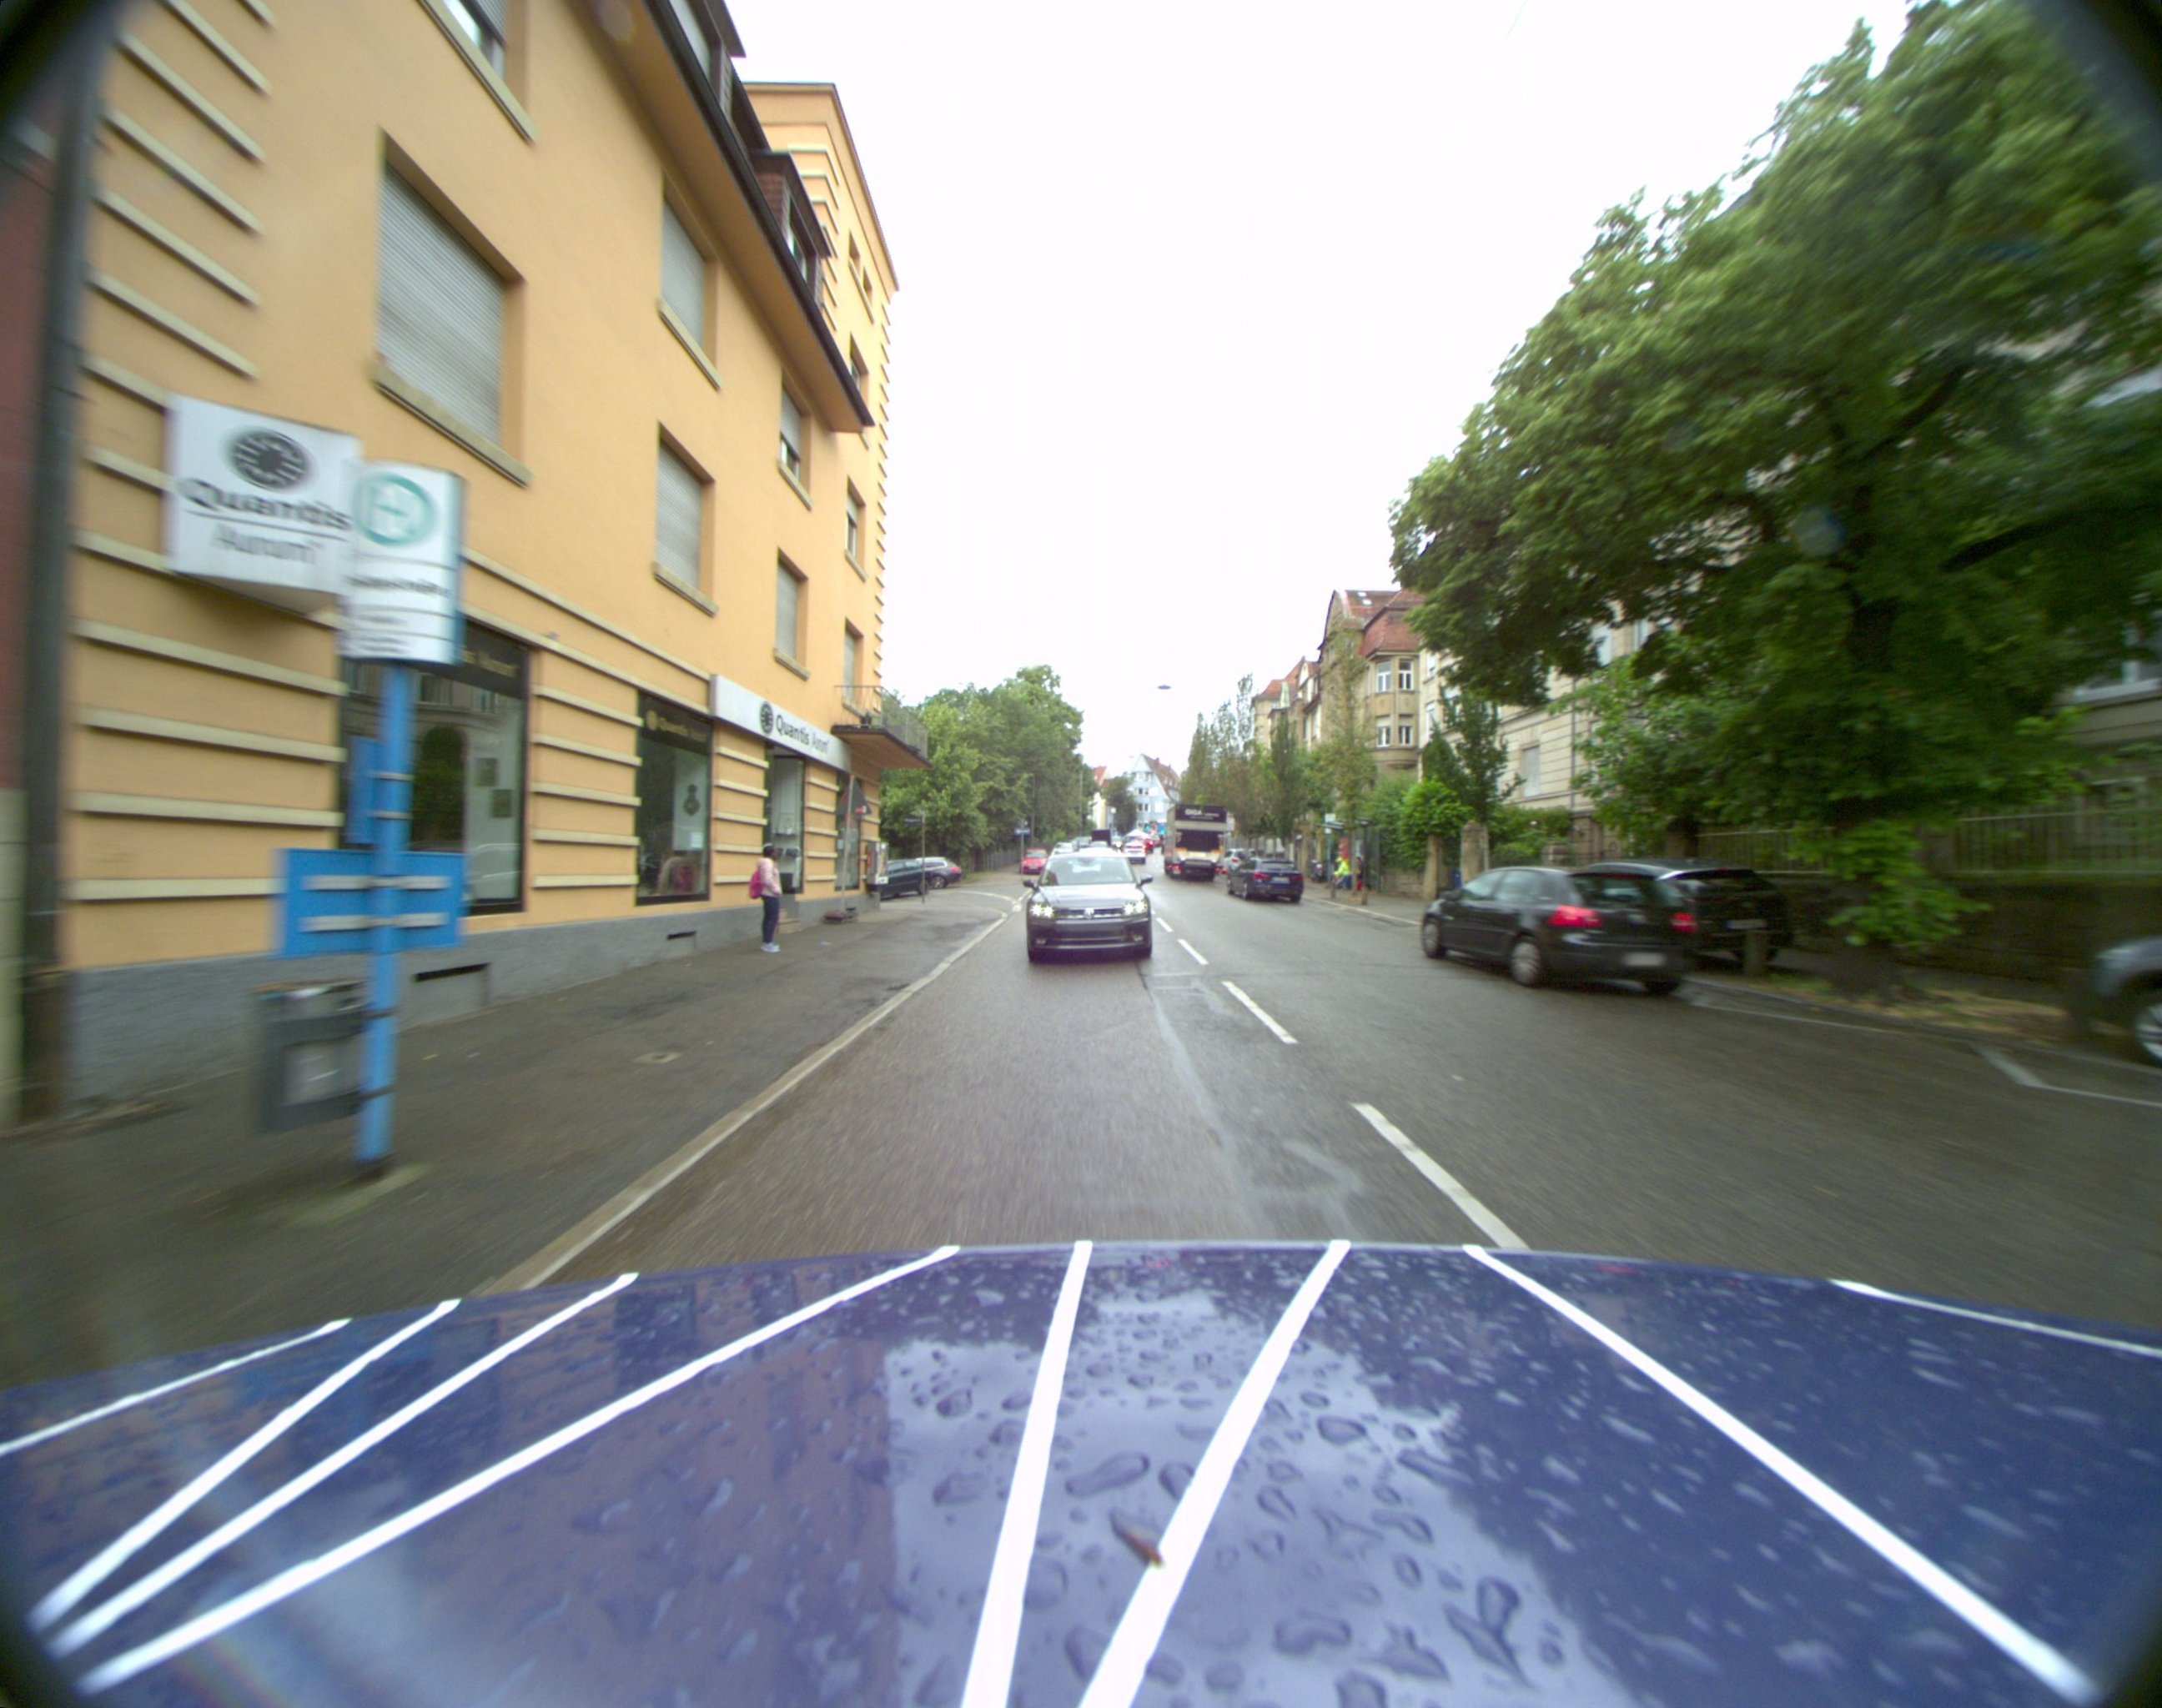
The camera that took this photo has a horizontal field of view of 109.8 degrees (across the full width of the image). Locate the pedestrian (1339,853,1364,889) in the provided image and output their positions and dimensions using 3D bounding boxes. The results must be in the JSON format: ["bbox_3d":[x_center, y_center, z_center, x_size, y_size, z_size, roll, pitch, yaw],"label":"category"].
[{"bbox_3d":[10.984,0.671,30.912,0.768,1.424,0.649,1,2,3],"label":"pedestrian"}]

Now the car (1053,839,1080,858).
[{"bbox_3d":[-1.190,-0.520,64.798,1.745,1.455,4.883,4,2,4],"label":"car"}]

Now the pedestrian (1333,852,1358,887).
[{"bbox_3d":[10.969,0.642,31.534,0.768,1.424,0.649,1,2,3],"label":"pedestrian"}]

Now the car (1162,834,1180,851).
[{"bbox_3d":[9.418,-1.220,79.160,1.747,1.509,3.869,3,3,7],"label":"car"}]

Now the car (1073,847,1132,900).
[{"bbox_3d":[0.786,0.638,27.337,1.925,1.642,4.485,-2,1,2],"label":"car"}]

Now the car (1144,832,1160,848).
[{"bbox_3d":[8.459,-1.688,90.035,1.655,1.699,4.114,2,3,7],"label":"car"}]

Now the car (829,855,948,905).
[{"bbox_3d":[-7.224,0.928,28.931,1.850,1.461,4.116,-2,3,33],"label":"car"}]

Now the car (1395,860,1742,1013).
[{"bbox_3d":[6.119,0.900,10.360,1.776,1.509,4.590,1,1,0],"label":"car"}]

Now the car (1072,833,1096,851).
[{"bbox_3d":[0.363,-1.299,80.527,1.971,1.642,4.816,4,3,6],"label":"car"}]

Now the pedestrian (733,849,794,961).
[{"bbox_3d":[-4.678,0.725,11.259,0.769,1.581,0.711,0,2,-18],"label":"pedestrian"}]

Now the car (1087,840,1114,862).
[{"bbox_3d":[1.601,-0.276,61.591,1.924,1.642,4.135,-1,1,4],"label":"car"}]

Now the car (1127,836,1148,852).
[{"bbox_3d":[5.372,-0.972,71.747,1.715,1.471,4.115,2,2,7],"label":"car"}]

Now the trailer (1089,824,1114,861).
[{"bbox_3d":[1.786,-0.974,64.665,1.966,3.024,2.365,-1,2,4],"label":"trailer"}]

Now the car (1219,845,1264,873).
[{"bbox_3d":[9.811,0.255,46.787,1.746,1.550,4.300,-2,2,-1],"label":"car"}]

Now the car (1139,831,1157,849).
[{"bbox_3d":[7.051,-1.524,79.321,1.655,1.699,4.114,2,3,7],"label":"car"}]

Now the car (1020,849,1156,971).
[{"bbox_3d":[0.132,0.751,13.003,1.860,1.641,5.194,0,1,1],"label":"car"}]

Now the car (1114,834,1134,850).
[{"bbox_3d":[4.711,-1.350,82.485,1.924,1.642,4.135,-1,1,5],"label":"car"}]

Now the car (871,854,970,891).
[{"bbox_3d":[-7.504,0.860,35.962,4.280,1.489,2.002,-3,0,-4],"label":"car"}]

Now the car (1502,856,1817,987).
[{"bbox_3d":[9.009,0.917,12.407,1.746,1.550,4.300,-3,2,-2],"label":"car"}]

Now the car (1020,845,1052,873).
[{"bbox_3d":[-2.658,0.271,45.881,1.613,1.493,3.957,1,2,1],"label":"car"}]

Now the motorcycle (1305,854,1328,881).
[{"bbox_3d":[11.462,0.644,36.969,0.657,1.230,1.763,1,2,4],"label":"motorcycle"}]

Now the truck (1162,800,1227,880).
[{"bbox_3d":[6.050,-0.771,41.978,2.653,3.833,9.307,2,1,4],"label":"truck"}]

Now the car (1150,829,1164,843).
[{"bbox_3d":[9.669,-2.306,96.206,1.655,1.699,4.114,2,3,7],"label":"car"}]

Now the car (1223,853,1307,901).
[{"bbox_3d":[6.386,0.745,26.906,1.776,1.459,4.747,2,1,0],"label":"car"}]

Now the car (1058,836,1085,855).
[{"bbox_3d":[-0.806,-0.826,70.201,1.924,1.642,4.884,4,2,5],"label":"car"}]

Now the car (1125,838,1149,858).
[{"bbox_3d":[4.331,-0.491,58.937,1.776,1.509,4.099,1,2,4],"label":"car"}]

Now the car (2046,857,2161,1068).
[{"bbox_3d":[8.984,0.863,4.258,1.745,1.550,4.301,-2,2,2],"label":"car"}]

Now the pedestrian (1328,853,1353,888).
[{"bbox_3d":[10.966,0.698,32.139,0.768,1.424,0.759,1,2,1],"label":"pedestrian"}]
